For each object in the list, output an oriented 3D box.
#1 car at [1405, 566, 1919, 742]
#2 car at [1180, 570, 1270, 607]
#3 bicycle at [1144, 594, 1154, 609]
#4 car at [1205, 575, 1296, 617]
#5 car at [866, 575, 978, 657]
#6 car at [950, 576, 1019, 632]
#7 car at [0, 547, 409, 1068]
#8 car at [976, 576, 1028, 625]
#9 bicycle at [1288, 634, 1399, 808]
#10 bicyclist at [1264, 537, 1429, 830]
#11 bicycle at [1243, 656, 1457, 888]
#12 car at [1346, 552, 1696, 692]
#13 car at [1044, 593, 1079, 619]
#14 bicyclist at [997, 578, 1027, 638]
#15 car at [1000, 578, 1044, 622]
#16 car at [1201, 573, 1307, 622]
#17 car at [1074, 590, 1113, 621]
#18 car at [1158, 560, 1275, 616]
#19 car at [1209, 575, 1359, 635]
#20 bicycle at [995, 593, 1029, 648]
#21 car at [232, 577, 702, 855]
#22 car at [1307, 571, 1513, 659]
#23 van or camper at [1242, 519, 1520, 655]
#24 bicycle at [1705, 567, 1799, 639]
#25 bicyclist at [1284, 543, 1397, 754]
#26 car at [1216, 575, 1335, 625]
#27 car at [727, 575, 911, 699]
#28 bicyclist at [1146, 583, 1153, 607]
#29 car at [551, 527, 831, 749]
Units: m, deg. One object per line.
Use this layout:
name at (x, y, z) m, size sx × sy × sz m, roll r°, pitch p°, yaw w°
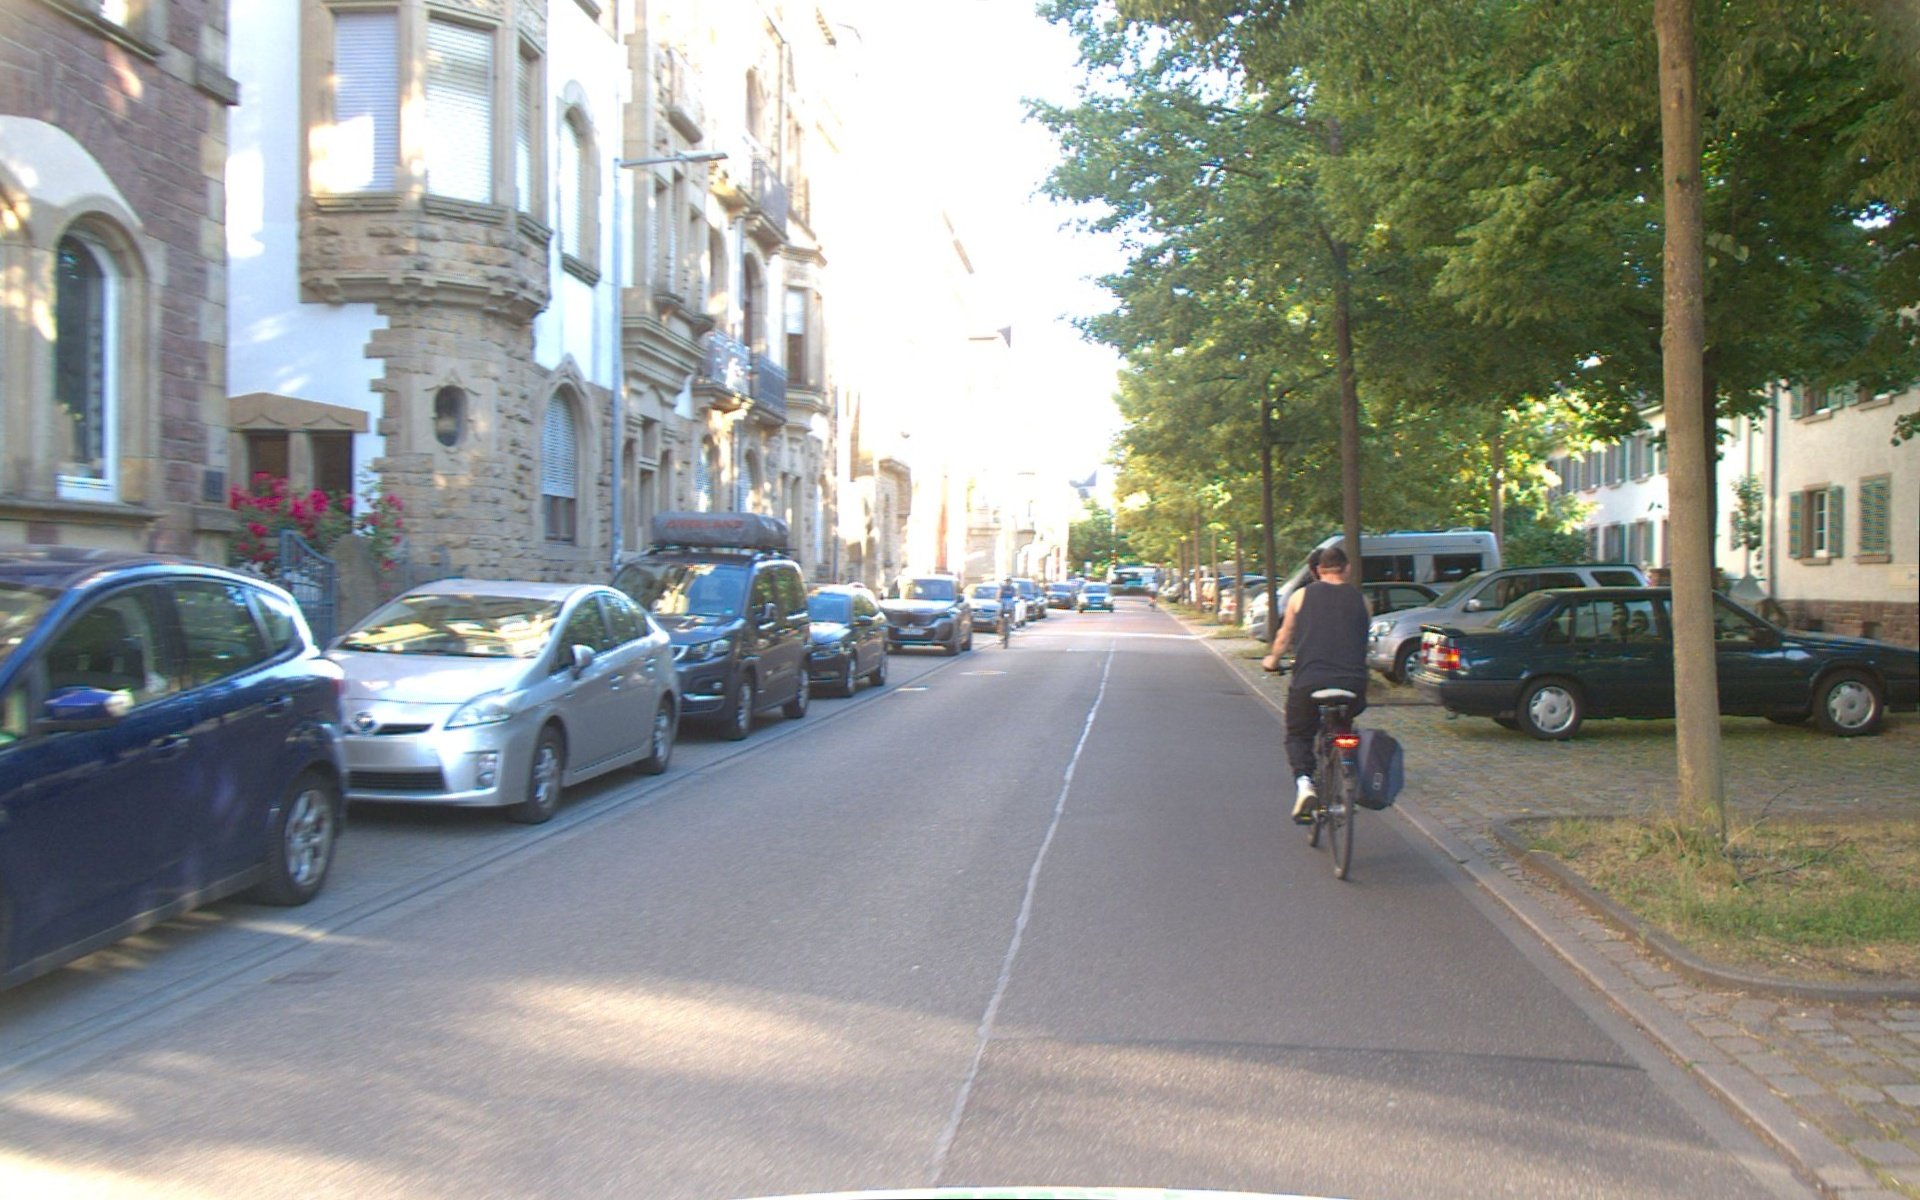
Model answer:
car at (7.086, 0.508, 16.490) m, size 4.791 × 1.467 × 1.943 m, roll -3°, pitch -1°, yaw 4°
car at (14.224, -0.621, 89.085) m, size 4.656 × 1.811 × 1.856 m, roll -2°, pitch 0°, yaw 7°
bicycle at (10.634, 0.098, 92.885) m, size 0.529 × 0.842 × 1.920 m, roll 0°, pitch 0°, yaw 6°
car at (13.843, -0.172, 78.939) m, size 4.153 × 1.828 × 1.856 m, roll -2°, pitch 0°, yaw 7°
car at (-0.753, 0.326, 35.603) m, size 2.006 × 1.650 × 4.397 m, roll 0°, pitch 0°, yaw 4°
car at (0.792, 0.108, 51.589) m, size 1.718 × 1.543 × 4.117 m, roll 3°, pitch 1°, yaw 6°
car at (-3.806, 0.647, 6.334) m, size 1.693 × 1.650 × 4.261 m, roll 1°, pitch 0°, yaw 4°
car at (1.477, -0.004, 57.191) m, size 1.459 × 1.543 × 3.778 m, roll 3°, pitch 1°, yaw 6°
bicycle at (2.848, 0.857, 12.420) m, size 0.543 × 1.091 × 1.970 m, roll 0°, pitch 2°, yaw 5°
bicyclist at (2.142, 0.443, 9.275) m, size 0.691 × 1.553 × 0.972 m, roll 0°, pitch 0°, yaw 0°
bicycle at (2.111, 0.889, 9.227) m, size 0.682 × 1.091 × 1.968 m, roll 0°, pitch 0°, yaw -1°
car at (7.973, 0.285, 23.855) m, size 4.382 × 1.698 × 1.944 m, roll -3°, pitch 1°, yaw 4°
car at (5.995, 0.373, 97.660) m, size 1.951 × 1.512 × 4.002 m, roll 0°, pitch 0°, yaw 5°
bicyclist at (1.232, 0.181, 39.137) m, size 0.651 × 1.368 × 1.060 m, roll -2°, pitch 1°, yaw 2°
car at (2.527, 0.011, 66.903) m, size 1.596 × 1.694 × 3.971 m, roll 0°, pitch 0°, yaw 5°
car at (12.154, -0.114, 68.548) m, size 4.153 × 1.872 × 1.856 m, roll -2°, pitch 0°, yaw 7°
car at (6.850, 0.274, 85.108) m, size 1.857 × 1.512 × 4.383 m, roll 0°, pitch 0°, yaw 3°
car at (16.332, -0.751, 105.670) m, size 7.177 × 3.339 × 2.225 m, roll -2°, pitch -1°, yaw 7°
car at (9.620, 0.156, 49.405) m, size 4.154 × 1.634 × 1.754 m, roll -2°, pitch 0°, yaw 3°
bicycle at (1.252, 0.471, 39.427) m, size 0.737 × 1.198 × 2.622 m, roll -2°, pitch 1°, yaw 3°
car at (-3.157, 0.624, 11.611) m, size 1.693 × 1.525 × 4.458 m, roll 1°, pitch 1°, yaw 4°
car at (8.369, 0.274, 30.981) m, size 3.427 × 1.498 × 1.752 m, roll -2°, pitch -1°, yaw 5°
van or camper at (9.054, -0.263, 36.000) m, size 5.457 × 2.581 × 2.270 m, roll -3°, pitch -1°, yaw 4°
bicycle at (16.210, 0.037, 33.917) m, size 0.784 × 1.424 × 2.001 m, roll -1°, pitch 1°, yaw -7°
bicyclist at (2.899, 0.359, 12.683) m, size 0.703 × 1.553 × 0.972 m, roll 0°, pitch 0°, yaw 5°
car at (11.628, 0.016, 61.148) m, size 4.153 × 1.676 × 1.856 m, roll -2°, pitch 0°, yaw 7°
car at (-1.912, 0.490, 23.856) m, size 1.692 × 1.602 × 4.712 m, roll 0°, pitch 0°, yaw 7°
bicyclist at (10.613, -0.272, 92.733) m, size 0.408 × 1.374 × 0.430 m, roll 0°, pitch -1°, yaw 6°
car at (-2.655, 0.298, 17.451) m, size 1.927 × 2.008 × 4.500 m, roll 1°, pitch 1°, yaw 4°
